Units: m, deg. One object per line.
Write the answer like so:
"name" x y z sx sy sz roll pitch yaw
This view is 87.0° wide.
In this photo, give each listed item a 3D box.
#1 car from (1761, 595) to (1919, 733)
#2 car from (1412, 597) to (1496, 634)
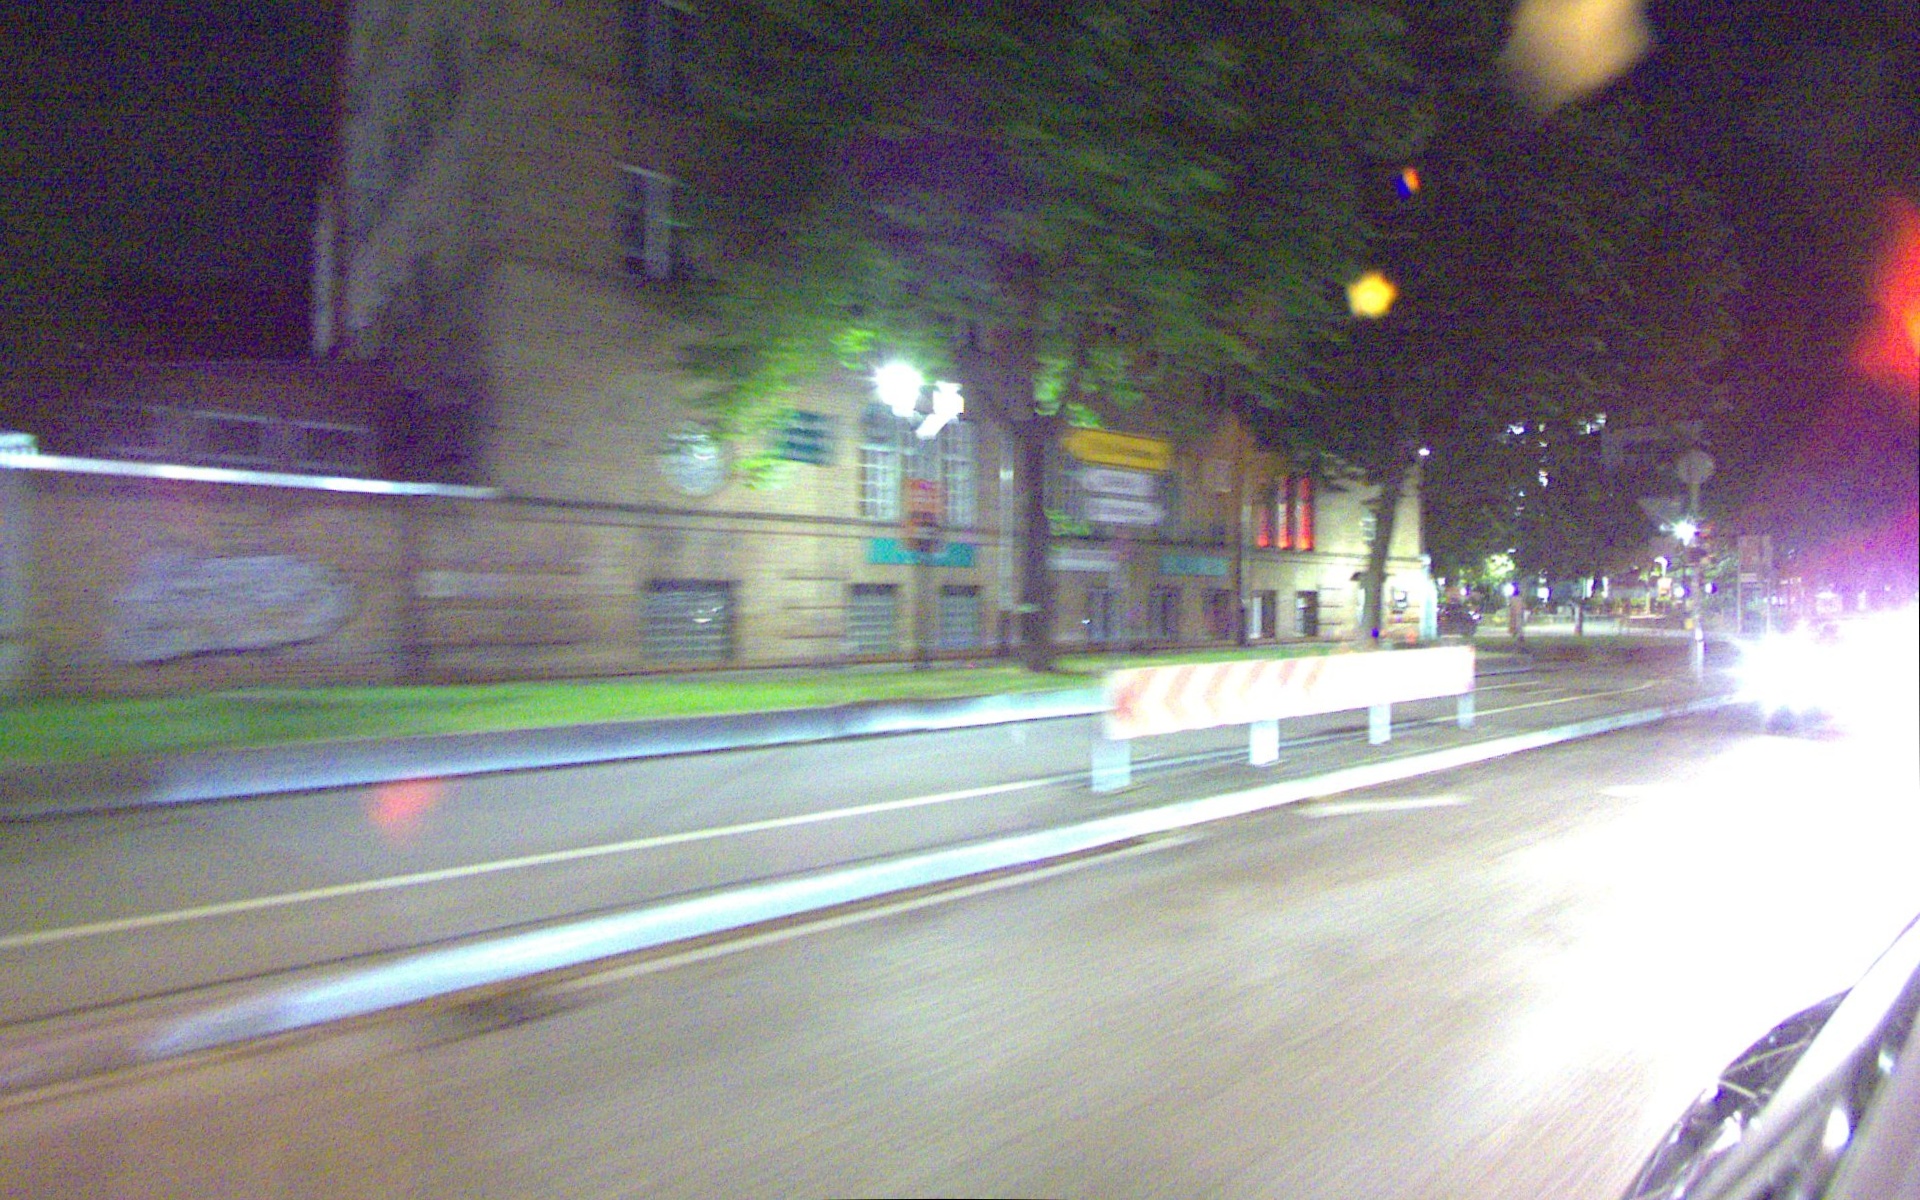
"car" 11.714 0.714 12.866 3.929 1.514 1.640 0 -2 -40
"car" 20.083 0.592 41.067 4.404 1.413 1.515 0 1 -42
